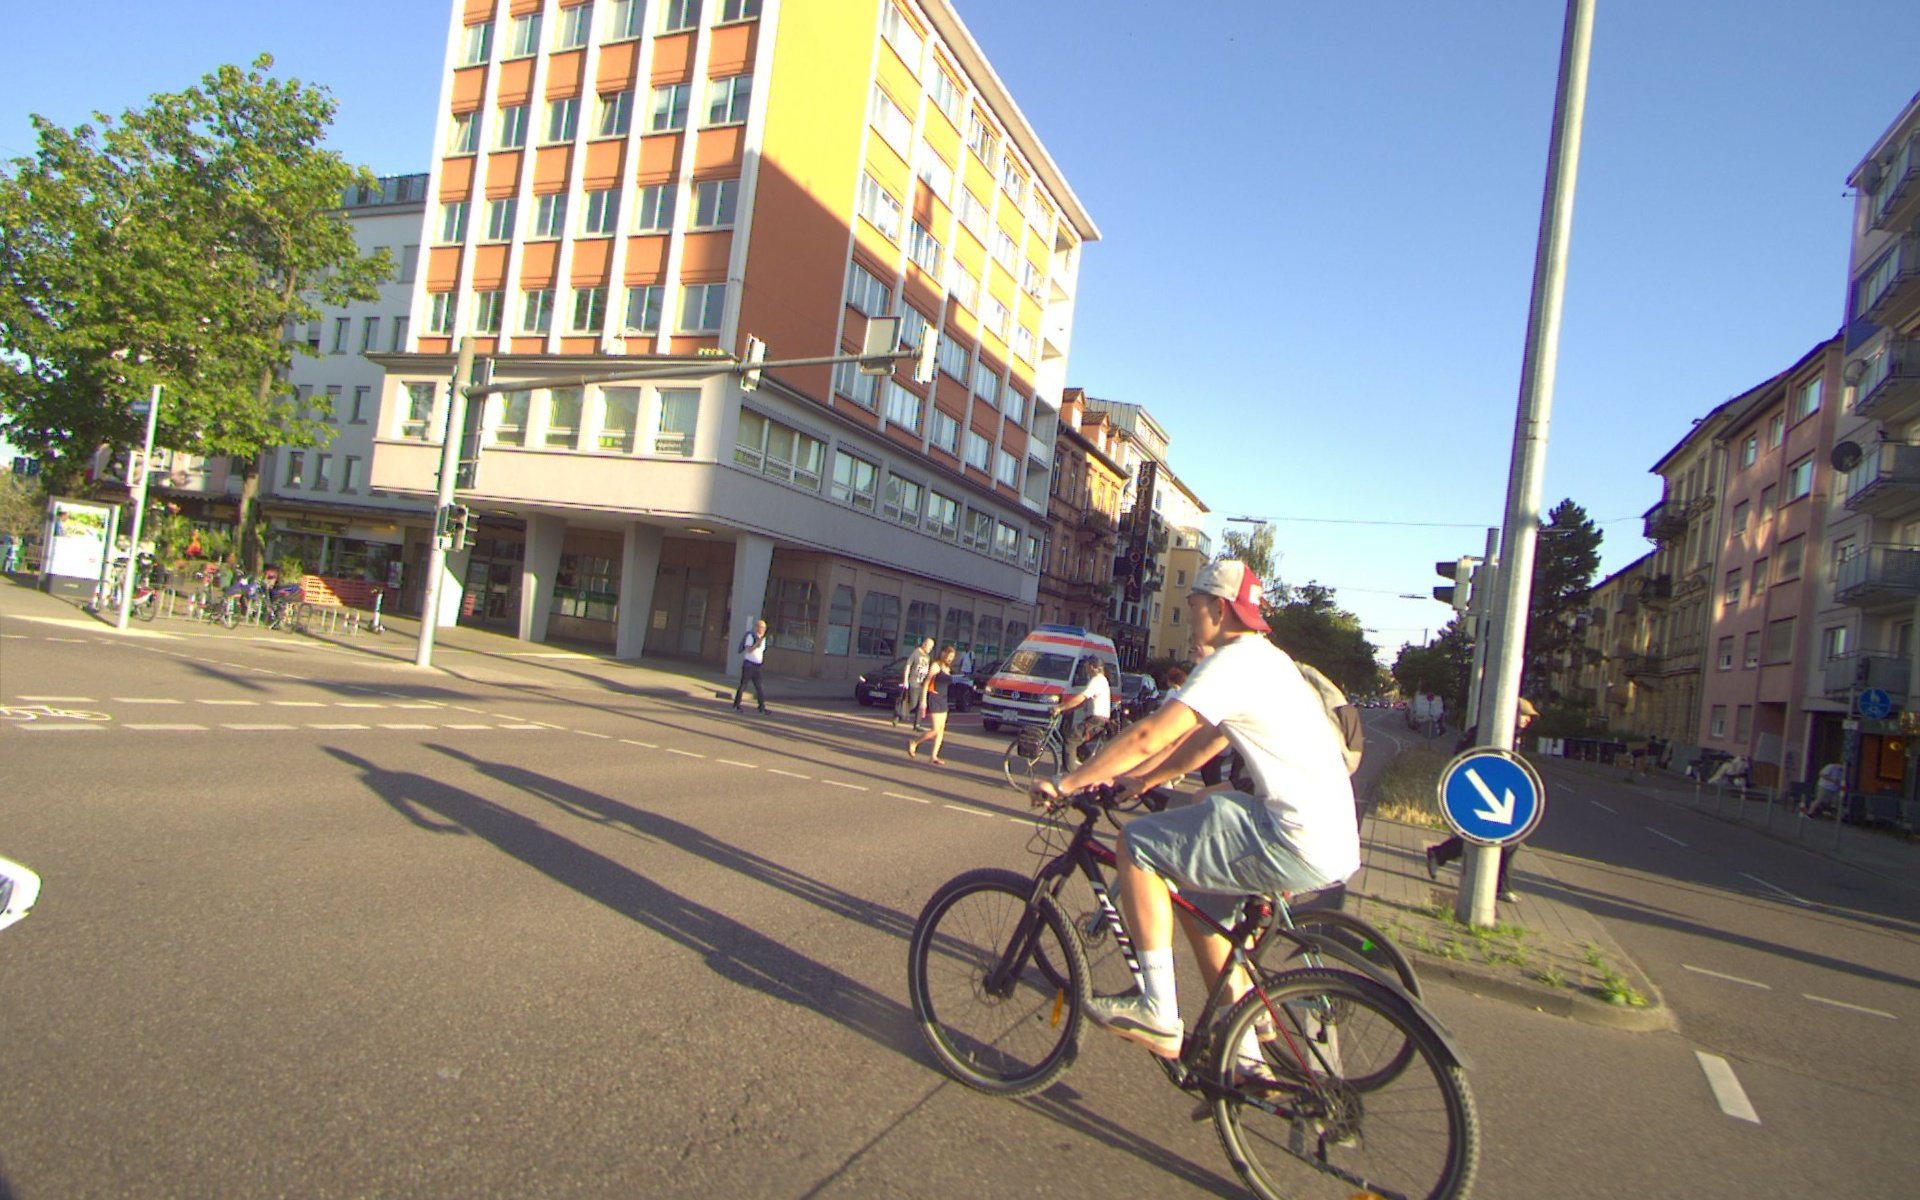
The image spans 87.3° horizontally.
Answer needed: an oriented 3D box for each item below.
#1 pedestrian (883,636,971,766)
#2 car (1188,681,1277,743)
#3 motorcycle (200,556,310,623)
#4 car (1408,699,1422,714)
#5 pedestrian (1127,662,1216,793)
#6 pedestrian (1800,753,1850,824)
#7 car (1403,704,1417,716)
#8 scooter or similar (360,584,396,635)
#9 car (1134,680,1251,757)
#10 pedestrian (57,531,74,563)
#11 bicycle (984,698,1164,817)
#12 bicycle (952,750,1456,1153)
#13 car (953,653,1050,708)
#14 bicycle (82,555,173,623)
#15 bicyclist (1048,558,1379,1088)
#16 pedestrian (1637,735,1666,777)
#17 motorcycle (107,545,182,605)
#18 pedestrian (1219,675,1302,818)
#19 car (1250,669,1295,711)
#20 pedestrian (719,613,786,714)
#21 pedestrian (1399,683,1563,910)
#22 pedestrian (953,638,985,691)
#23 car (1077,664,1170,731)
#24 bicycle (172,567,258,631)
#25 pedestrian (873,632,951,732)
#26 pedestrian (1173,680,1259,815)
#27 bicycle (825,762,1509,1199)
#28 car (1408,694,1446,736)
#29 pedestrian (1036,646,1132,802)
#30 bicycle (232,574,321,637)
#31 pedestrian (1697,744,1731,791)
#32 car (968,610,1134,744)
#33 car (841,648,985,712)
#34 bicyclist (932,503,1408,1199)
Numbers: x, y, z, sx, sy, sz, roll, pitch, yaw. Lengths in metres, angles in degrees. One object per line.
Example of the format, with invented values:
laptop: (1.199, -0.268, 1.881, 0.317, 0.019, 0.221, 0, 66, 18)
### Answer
pedestrian: (-0.436, 1.354, 13.529, 0.734, 1.608, 0.683, 7, -1, 29)
car: (8.216, 3.345, 30.105, 1.756, 1.480, 4.001, 7, -2, 25)
motorcycle: (-18.140, -0.242, 25.941, 0.748, 1.422, 2.048, 7, -2, 32)
car: (79.469, 18.592, 175.764, 1.841, 2.434, 4.309, 7, -2, 22)
pedestrian: (3.015, 1.790, 14.300, 0.889, 1.681, 0.730, 7, -1, 26)
pedestrian: (24.103, 5.247, 28.058, 0.698, 1.796, 0.728, 7, -1, 22)
car: (72.816, 17.772, 162.793, 1.841, 1.614, 3.849, 7, -2, 22)
scooter or similar: (-15.979, 0.259, 27.593, 1.167, 1.268, 0.414, 6, -2, 44)
car: (5.452, 2.703, 23.255, 1.774, 1.392, 4.001, 6, -3, 25)
pedestrian: (-52.954, -3.137, 59.548, 0.619, 1.762, 0.654, 5, 1, -41)
bicycle: (1.267, 1.722, 11.249, 1.816, 0.992, 0.522, 7, -1, 24)
bicycle: (0.957, 1.305, 4.139, 1.825, 1.040, 0.576, 7, -1, 29)
car: (1.456, 2.721, 33.570, 1.725, 1.527, 3.775, 7, -2, 26)
bicycle: (-17.228, -0.233, 20.824, 1.841, 1.140, 0.647, 8, -1, 26)
bicyclist: (1.056, 0.821, 4.137, 0.977, 1.828, 0.676, 7, -1, 28)
pedestrian: (28.584, 6.427, 41.574, 0.698, 1.594, 0.728, 7, -1, 22)
motorcycle: (-20.733, -0.640, 25.558, 2.164, 1.256, 0.667, 7, -2, 31)
pedestrian: (3.871, 1.860, 12.935, 0.733, 1.681, 0.684, 7, -1, 26)
car: (22.326, 6.454, 71.639, 2.087, 2.552, 6.433, 7, -2, 24)
pedestrian: (-3.802, 1.162, 18.429, 0.798, 1.721, 0.570, 7, -1, 26)
pedestrian: (4.558, 1.674, 8.831, 1.053, 1.724, 0.663, 7, -1, 29)
pedestrian: (0.330, 2.317, 35.992, 0.628, 1.776, 0.819, 7, -1, 27)
car: (4.832, 2.823, 29.243, 1.568, 1.588, 4.087, 7, -2, 23)
bicycle: (-16.550, -0.034, 22.350, 1.841, 1.140, 0.647, 8, -1, 26)
pedestrian: (-0.893, 1.548, 18.996, 1.009, 1.721, 0.785, 7, -1, 26)
pedestrian: (3.183, 1.809, 12.475, 0.733, 1.517, 0.684, 7, -1, 26)
bicycle: (0.541, 1.211, 3.150, 1.949, 1.040, 0.479, 7, -1, 32)
car: (35.439, 8.705, 76.463, 2.052, 2.752, 4.550, 7, -2, 23)
pedestrian: (1.396, 1.369, 11.254, 0.748, 1.607, 0.678, 5, -2, 24)
bicycle: (-16.007, 0.122, 23.543, 2.086, 1.171, 0.647, 8, -1, 26)
pedestrian: (28.156, 6.249, 37.580, 0.698, 1.594, 0.728, 7, -1, 24)
car: (2.246, 1.807, 23.007, 1.891, 2.510, 5.269, 7, -2, 24)
car: (-1.156, 2.230, 27.490, 1.807, 1.356, 4.677, 7, -3, 26)
bicyclist: (0.682, 0.703, 3.152, 1.040, 1.828, 0.828, 7, -2, 31)
